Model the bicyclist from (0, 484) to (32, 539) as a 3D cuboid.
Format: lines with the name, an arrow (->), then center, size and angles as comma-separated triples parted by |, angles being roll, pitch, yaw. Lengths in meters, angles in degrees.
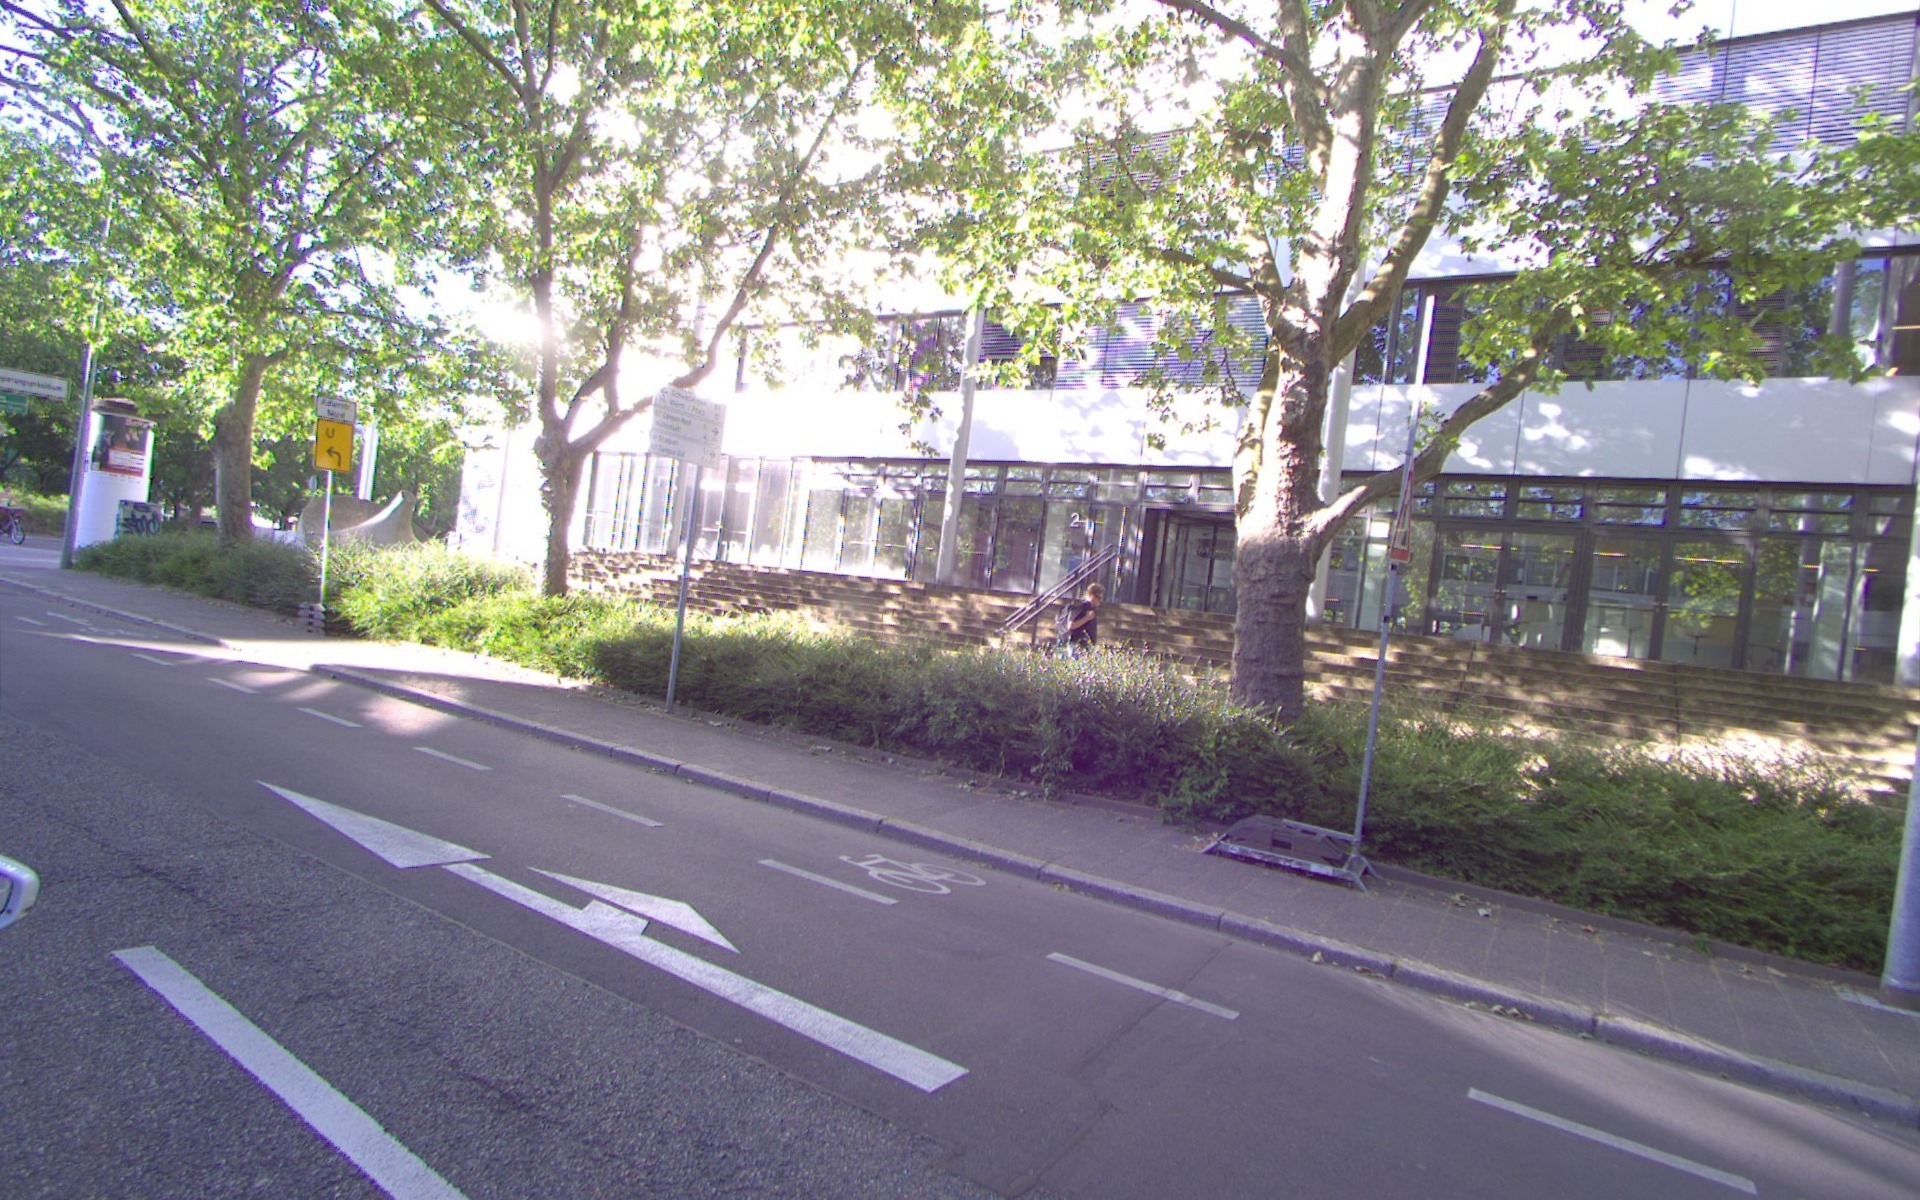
bicyclist -> -29.839, -2.792, 31.391 | 0.918, 1.601, 0.719 | 7, -1, 9

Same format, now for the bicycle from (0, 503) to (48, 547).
bicycle -> -29.792, -2.397, 31.366 | 2.134, 1.186, 0.719 | 7, -1, 8

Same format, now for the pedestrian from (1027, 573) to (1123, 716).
pedestrian -> 1.556, 0.603, 13.606 | 0.848, 1.802, 0.785 | 7, 0, 30
